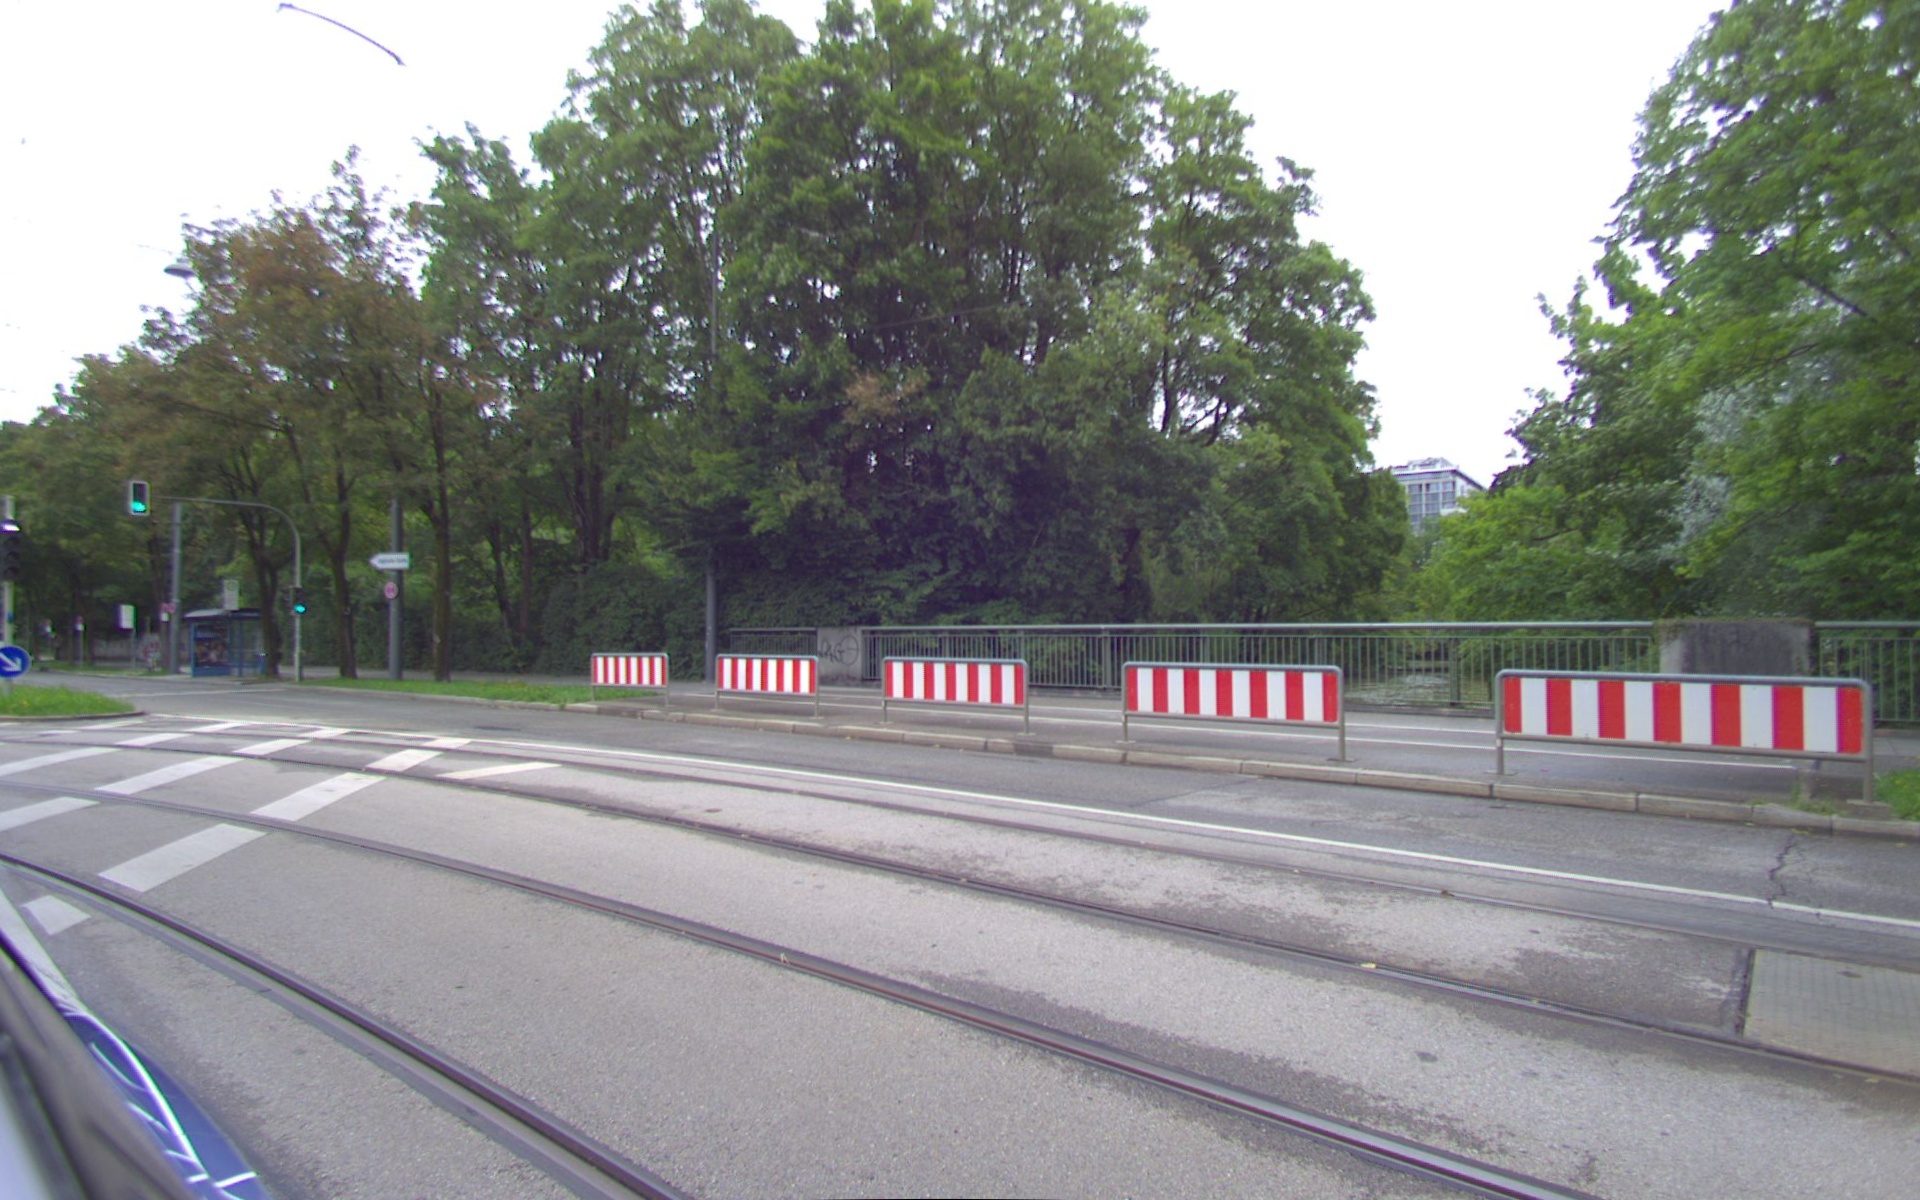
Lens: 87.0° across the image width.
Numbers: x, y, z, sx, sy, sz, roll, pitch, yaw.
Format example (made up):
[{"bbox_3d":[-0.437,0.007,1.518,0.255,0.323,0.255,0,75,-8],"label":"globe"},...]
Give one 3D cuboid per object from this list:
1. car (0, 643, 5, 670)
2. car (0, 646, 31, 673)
[{"bbox_3d":[-64.726,3.771,66.842,3.996,1.739,1.864,-1,0,40],"label":"car"},{"bbox_3d":[-60.134,3.746,63.736,3.996,1.552,1.864,-1,0,40],"label":"car"}]
